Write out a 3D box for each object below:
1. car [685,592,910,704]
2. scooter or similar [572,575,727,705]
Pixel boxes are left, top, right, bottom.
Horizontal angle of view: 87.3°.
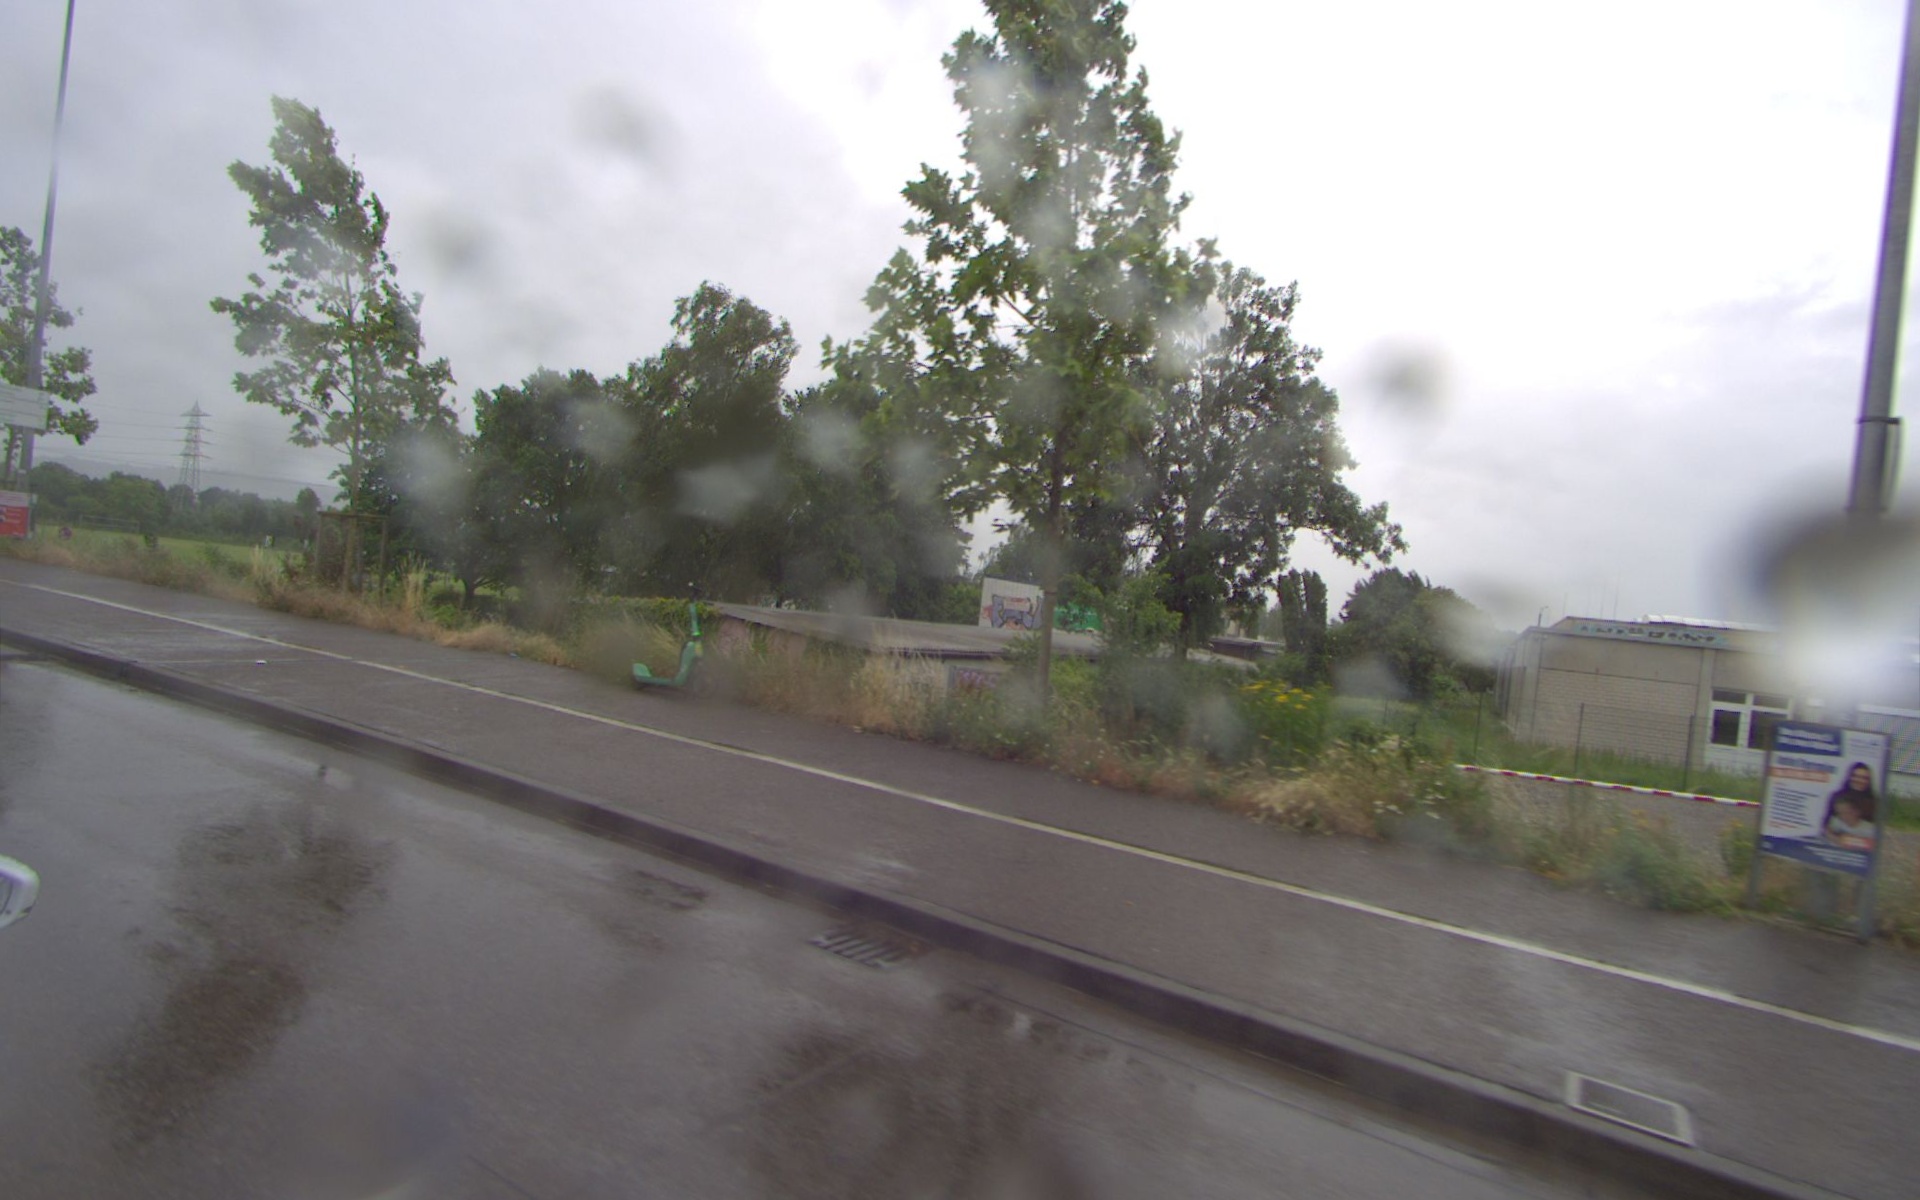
[{"bbox_3d":[-2.278,0.763,14.796,1.323,1.303,3.241,6,-2,33],"label":"car"},{"bbox_3d":[-3.442,0.418,11.084,1.881,1.213,0.367,6,-1,32],"label":"scooter or similar"}]
